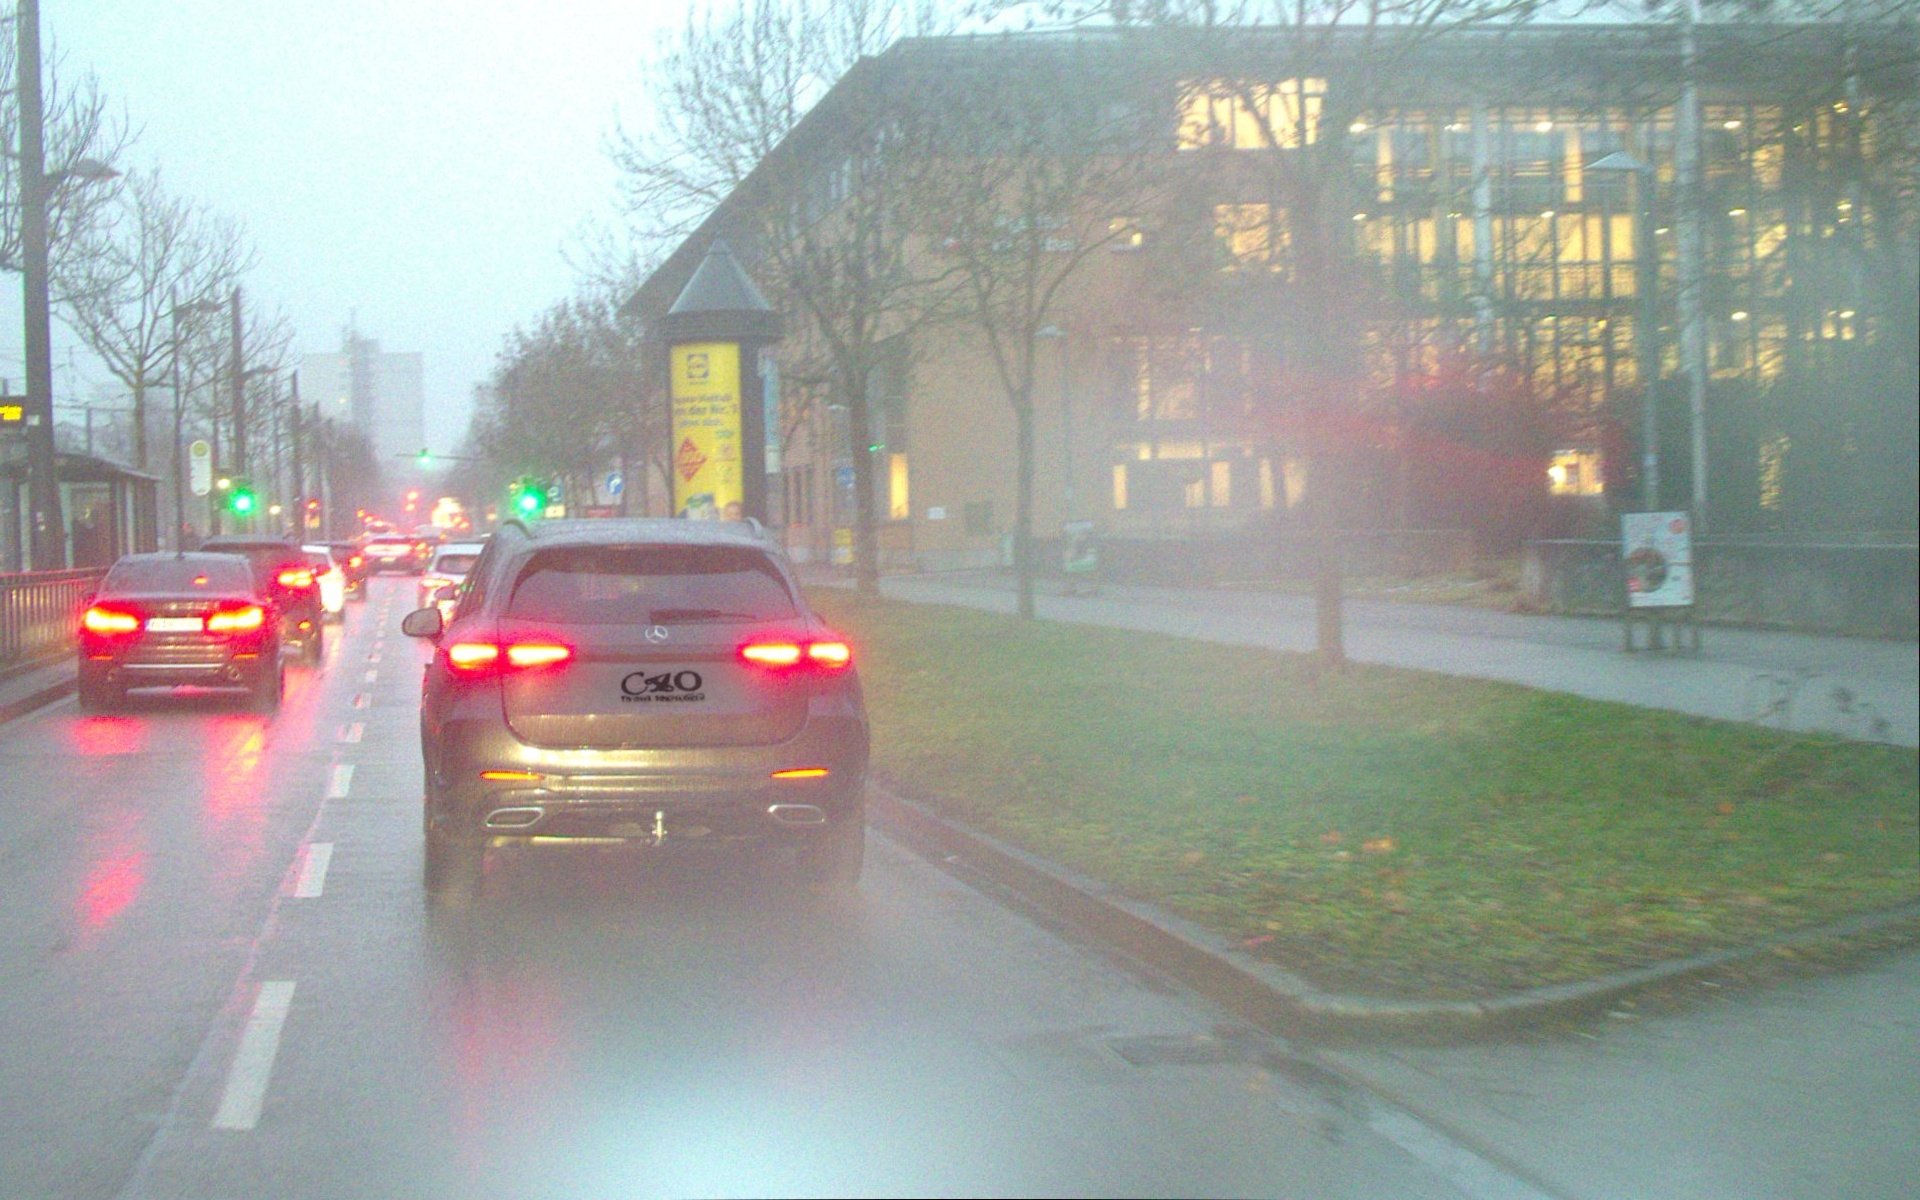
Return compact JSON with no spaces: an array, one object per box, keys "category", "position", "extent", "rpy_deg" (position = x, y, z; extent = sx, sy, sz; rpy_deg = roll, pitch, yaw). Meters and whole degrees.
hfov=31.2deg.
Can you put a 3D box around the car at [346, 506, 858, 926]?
[{"category":"car","position":[-1.699,0.408,15.788],"extent":[1.990,1.610,4.001],"rpy_deg":[-2,2,-8]}]

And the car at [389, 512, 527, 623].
[{"category":"car","position":[-7.879,-0.538,53.746],"extent":[1.993,1.612,4.001],"rpy_deg":[-2,2,-9]}]

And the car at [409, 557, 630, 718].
[{"category":"car","position":[-4.472,0.328,34.455],"extent":[1.993,1.403,4.001],"rpy_deg":[-2,2,-9]}]

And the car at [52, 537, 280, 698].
[{"category":"car","position":[-7.681,0.122,33.570],"extent":[1.993,1.393,4.001],"rpy_deg":[-2,2,-11]}]

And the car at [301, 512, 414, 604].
[{"category":"car","position":[-11.395,-0.822,65.140],"extent":[1.993,1.612,4.001],"rpy_deg":[-2,2,-9]}]

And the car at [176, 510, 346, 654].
[{"category":"car","position":[-9.233,-0.283,45.675],"extent":[1.993,1.759,4.001],"rpy_deg":[-2,2,-9]}]

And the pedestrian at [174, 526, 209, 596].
[{"category":"pedestrian","position":[-17.571,-0.895,78.614],"extent":[0.698,1.547,0.669],"rpy_deg":[-2,1,-9]}]
